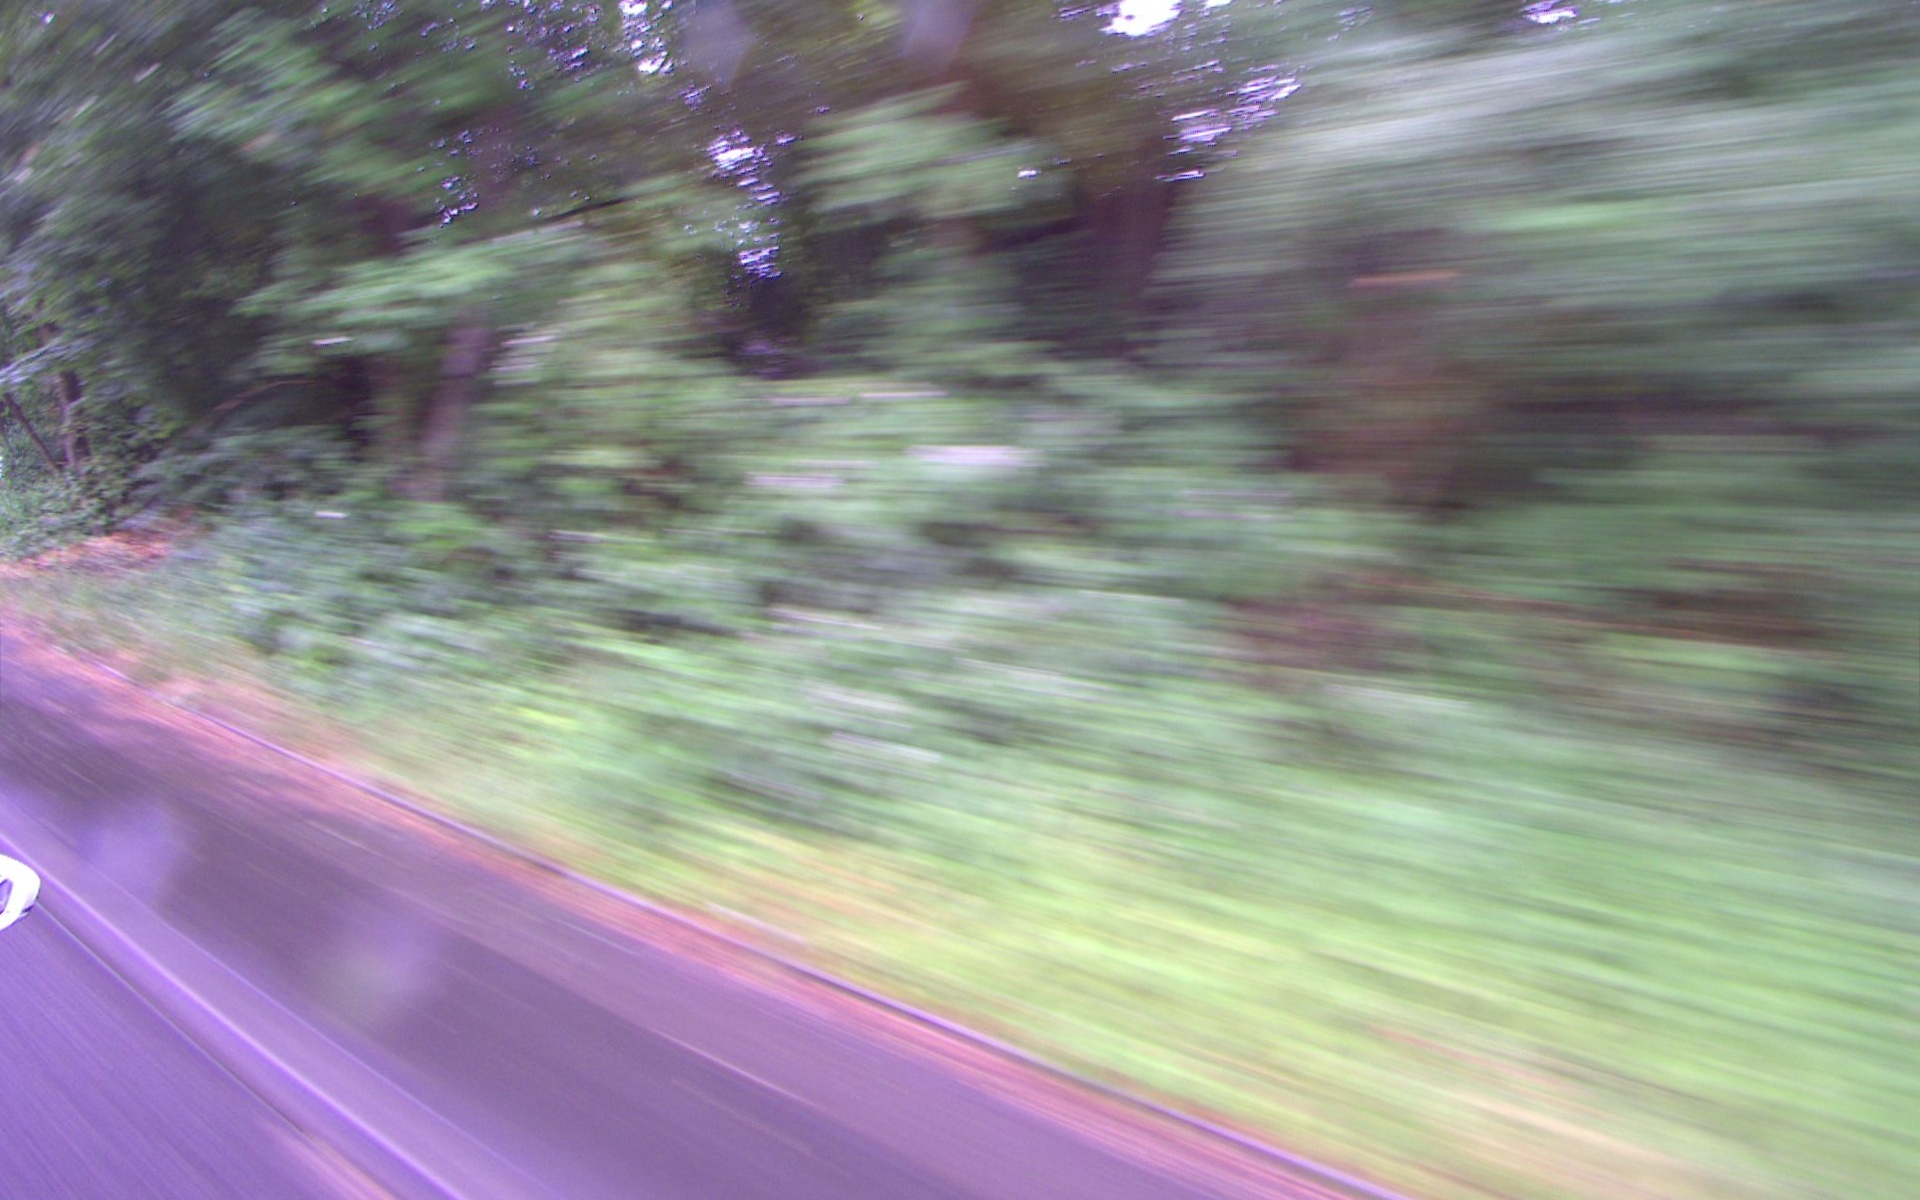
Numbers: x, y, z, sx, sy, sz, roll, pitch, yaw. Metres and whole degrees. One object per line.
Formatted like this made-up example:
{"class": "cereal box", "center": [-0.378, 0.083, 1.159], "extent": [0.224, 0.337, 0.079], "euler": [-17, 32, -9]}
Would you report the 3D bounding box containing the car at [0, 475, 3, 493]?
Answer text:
{"class": "car", "center": [-95.099, -11.501, 98.285], "extent": [1.987, 1.793, 4.065], "euler": [7, 0, -42]}
